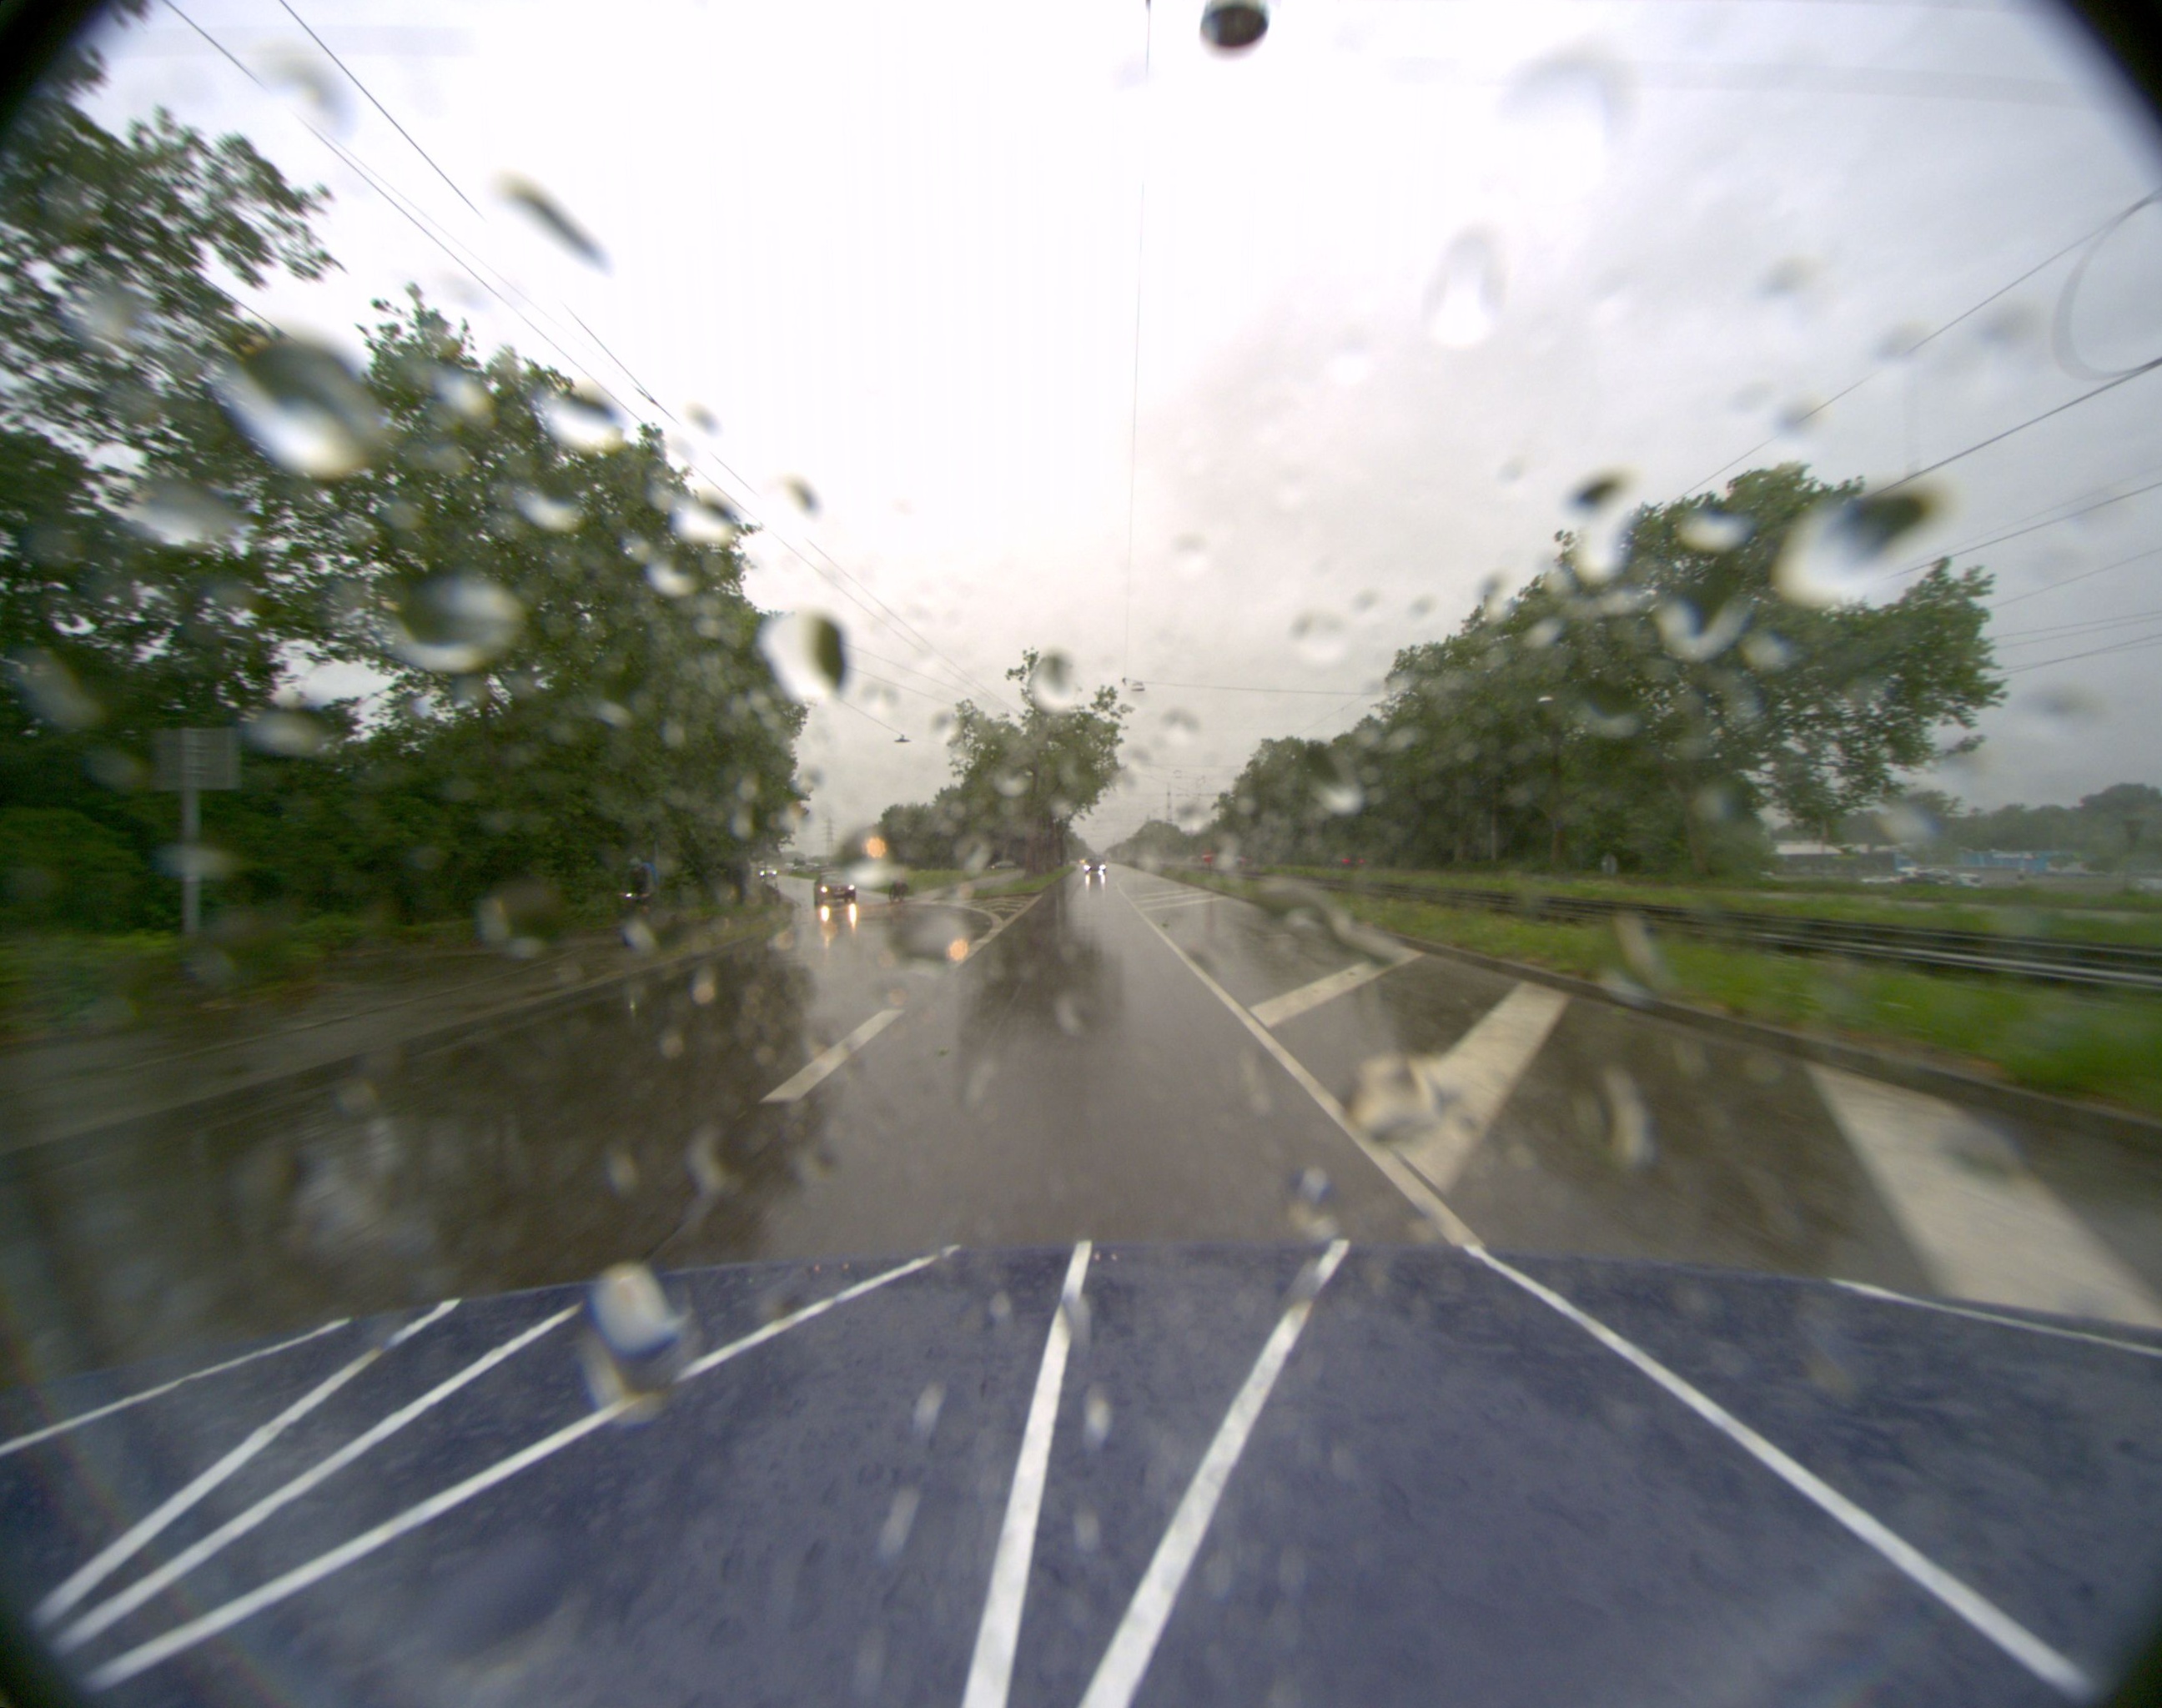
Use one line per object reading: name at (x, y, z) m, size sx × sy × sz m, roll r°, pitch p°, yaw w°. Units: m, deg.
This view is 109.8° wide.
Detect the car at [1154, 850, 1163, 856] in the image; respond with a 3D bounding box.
car at (19.489, -0.219, 190.865) m, size 1.695 × 1.514 × 4.955 m, roll -1°, pitch 0°, yaw -1°

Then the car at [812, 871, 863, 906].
car at (-12.531, 1.720, 38.886) m, size 1.871 × 1.527 × 4.507 m, roll -2°, pitch 0°, yaw -25°

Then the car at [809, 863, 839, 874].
car at (-37.259, 2.077, 110.120) m, size 3.990 × 1.412 × 1.755 m, roll 0°, pitch 1°, yaw 25°

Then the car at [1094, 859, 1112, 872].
car at (2.565, 1.282, 88.595) m, size 1.971 × 1.412 × 4.000 m, roll 0°, pitch 0°, yaw 1°

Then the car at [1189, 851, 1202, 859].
car at (20.459, 0.168, 136.303) m, size 1.686 × 1.398 × 3.939 m, roll -1°, pitch 1°, yaw 0°

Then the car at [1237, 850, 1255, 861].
car at (22.726, 0.190, 104.725) m, size 1.655 × 1.559 × 4.047 m, roll -2°, pitch 0°, yaw 0°

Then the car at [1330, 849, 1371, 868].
car at (23.954, 0.377, 67.717) m, size 2.217 × 1.519 × 4.278 m, roll -1°, pitch 0°, yaw 0°

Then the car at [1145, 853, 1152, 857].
car at (19.778, 0.268, 222.300) m, size 1.776 × 1.322 × 4.379 m, roll -1°, pitch 0°, yaw -1°
